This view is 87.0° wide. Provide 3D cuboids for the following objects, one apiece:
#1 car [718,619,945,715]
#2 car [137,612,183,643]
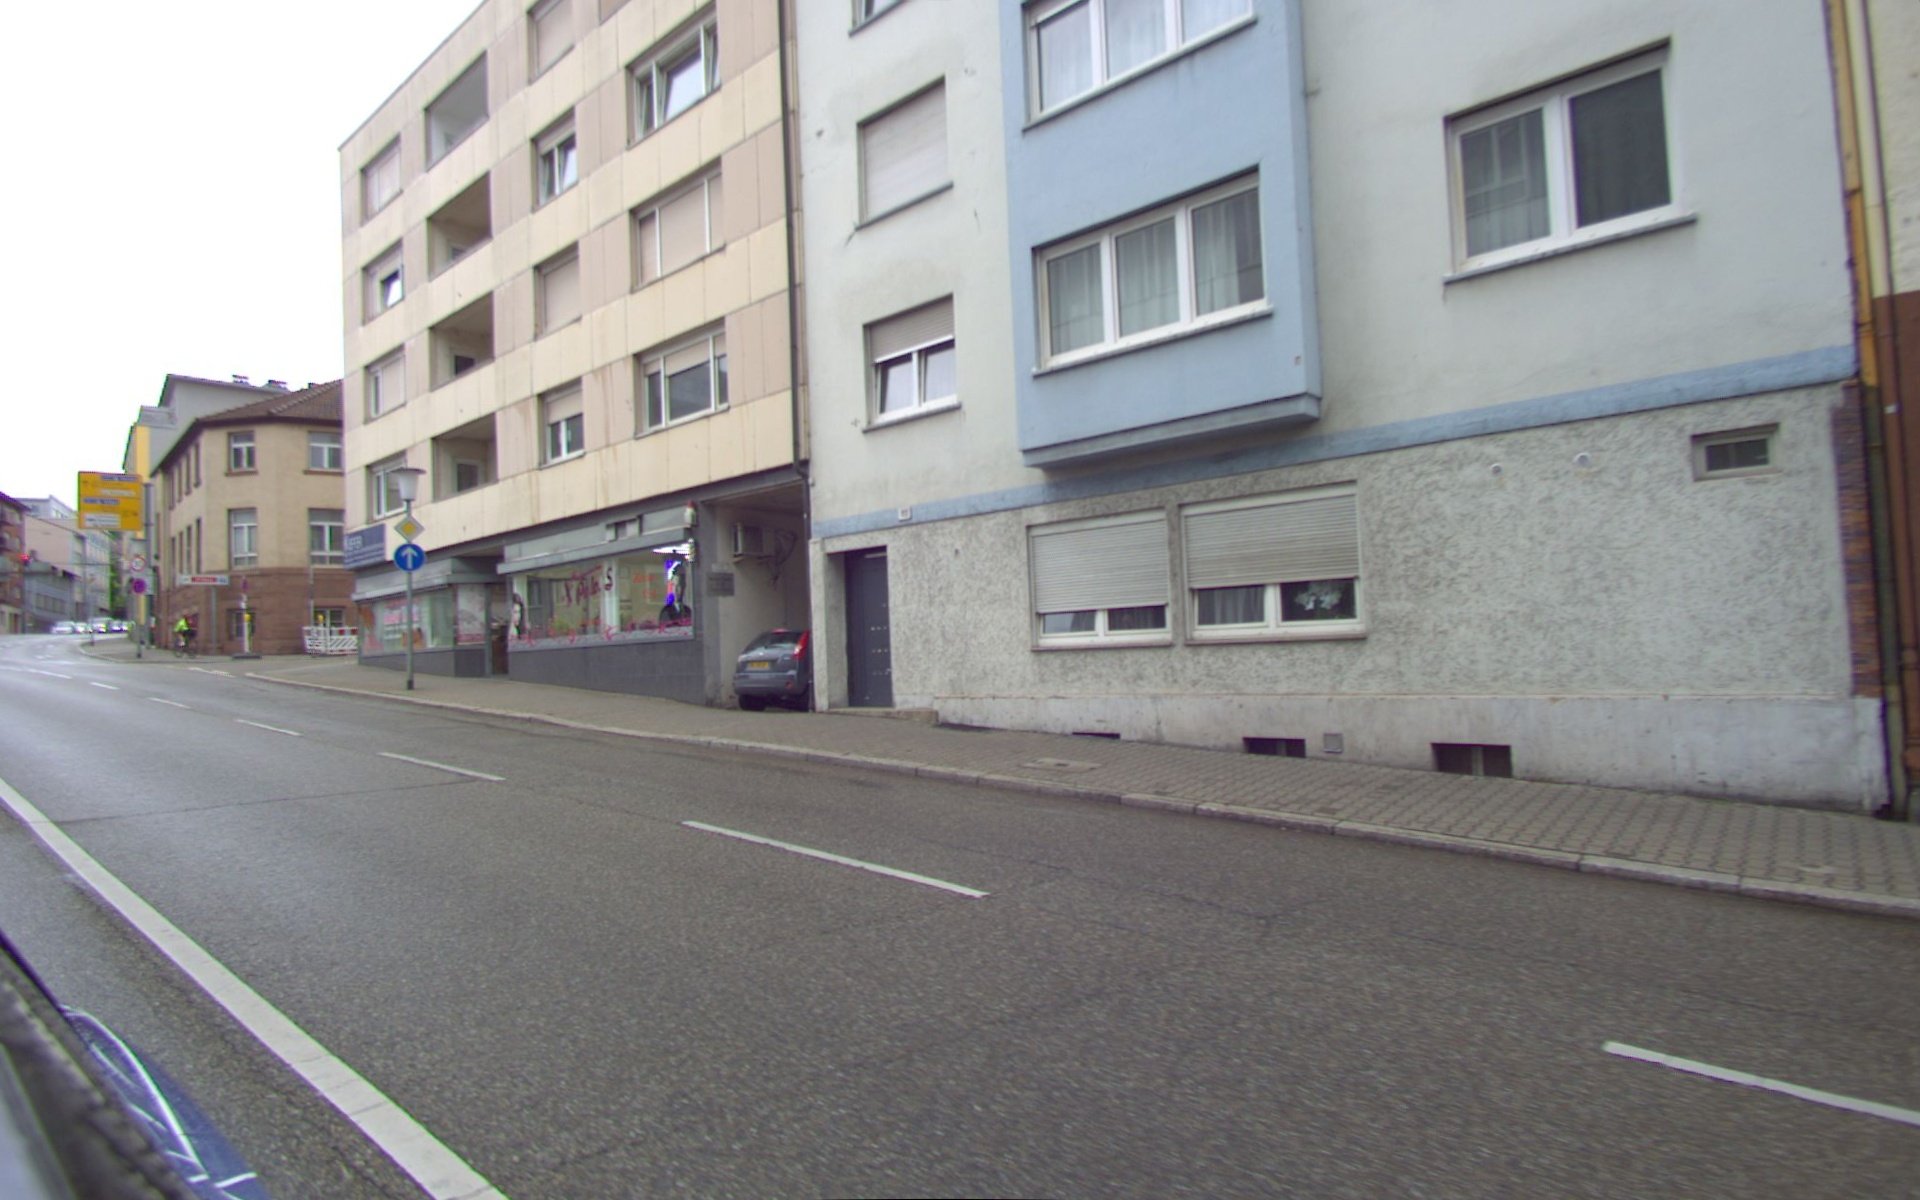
[{"bbox_3d":[-2.089,1.240,17.493,1.674,1.361,3.954,-3,-9,34],"label":"car"},{"bbox_3d":[-43.484,1.482,54.987,1.834,1.464,3.970,-4,1,-39],"label":"car"}]
